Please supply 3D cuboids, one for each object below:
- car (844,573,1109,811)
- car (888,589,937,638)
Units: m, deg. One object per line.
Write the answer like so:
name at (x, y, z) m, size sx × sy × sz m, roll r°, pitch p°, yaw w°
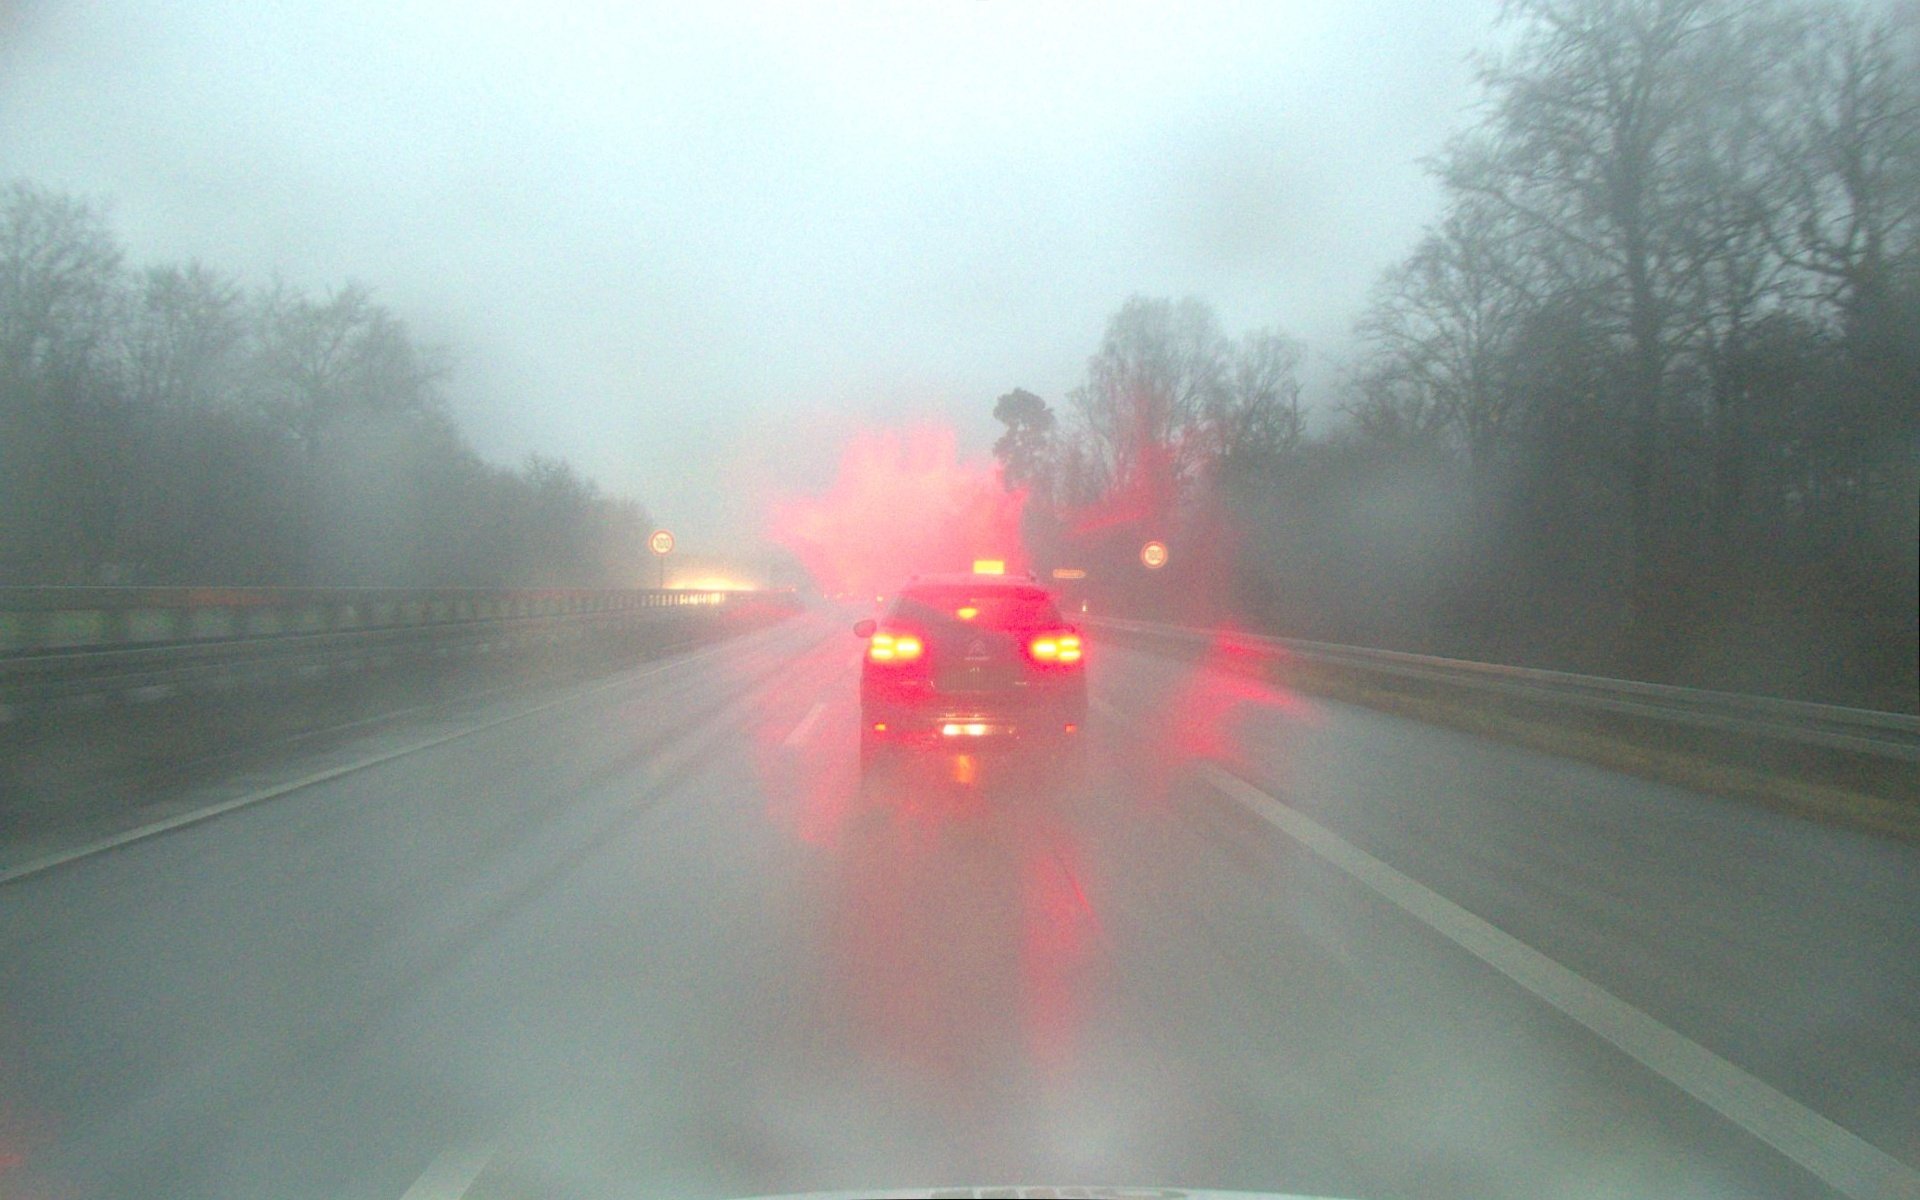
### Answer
car at (0.056, 0.685, 14.195) m, size 1.952 × 1.745 × 3.828 m, roll 1°, pitch 0°, yaw -2°
car at (-2.057, 0.555, 70.790) m, size 1.954 × 2.049 × 3.997 m, roll 1°, pitch 0°, yaw -4°
